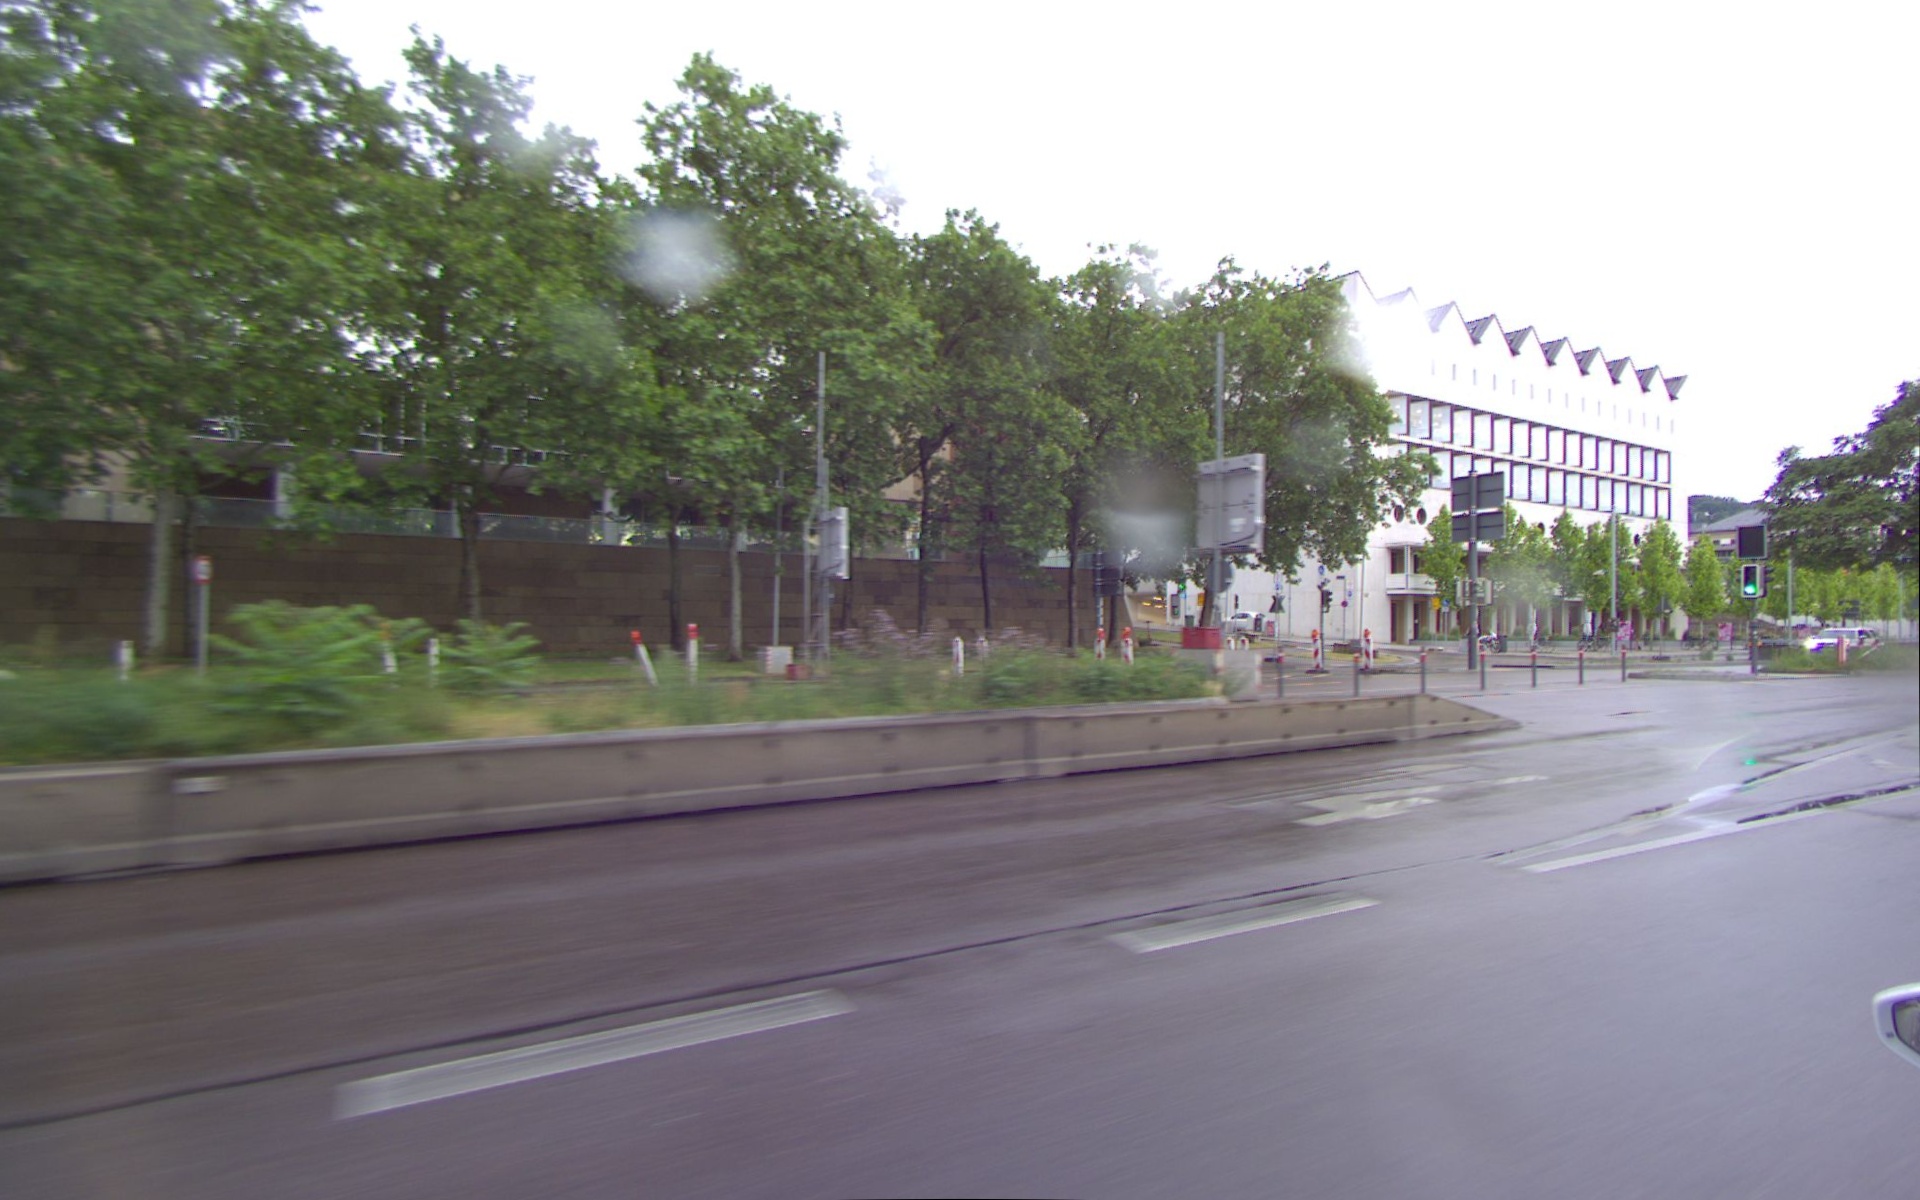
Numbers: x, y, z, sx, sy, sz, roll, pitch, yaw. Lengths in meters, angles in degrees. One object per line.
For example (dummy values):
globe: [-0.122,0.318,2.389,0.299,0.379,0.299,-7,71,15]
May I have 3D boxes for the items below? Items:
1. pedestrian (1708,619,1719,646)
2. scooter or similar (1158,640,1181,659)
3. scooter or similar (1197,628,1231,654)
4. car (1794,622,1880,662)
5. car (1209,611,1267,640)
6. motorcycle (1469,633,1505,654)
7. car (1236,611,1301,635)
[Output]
pedestrian: [57.466,2.455,76.617,0.531,2.040,0.530,-1,-3,24]
scooter or similar: [11.630,2.751,55.779,0.430,1.031,1.668,1,-3,-19]
scooter or similar: [13.581,2.175,53.680,1.645,1.369,0.713,1,-3,-11]
car: [43.161,2.106,49.413,4.841,1.864,1.982,3,-4,-34]
car: [20.454,1.906,74.106,1.974,2.040,3.975,2,-3,-26]
motorcycle: [30.342,2.497,57.813,1.808,1.169,0.426,-1,-2,32]
car: [21.413,1.583,69.842,1.979,1.617,3.963,1,-2,-33]
